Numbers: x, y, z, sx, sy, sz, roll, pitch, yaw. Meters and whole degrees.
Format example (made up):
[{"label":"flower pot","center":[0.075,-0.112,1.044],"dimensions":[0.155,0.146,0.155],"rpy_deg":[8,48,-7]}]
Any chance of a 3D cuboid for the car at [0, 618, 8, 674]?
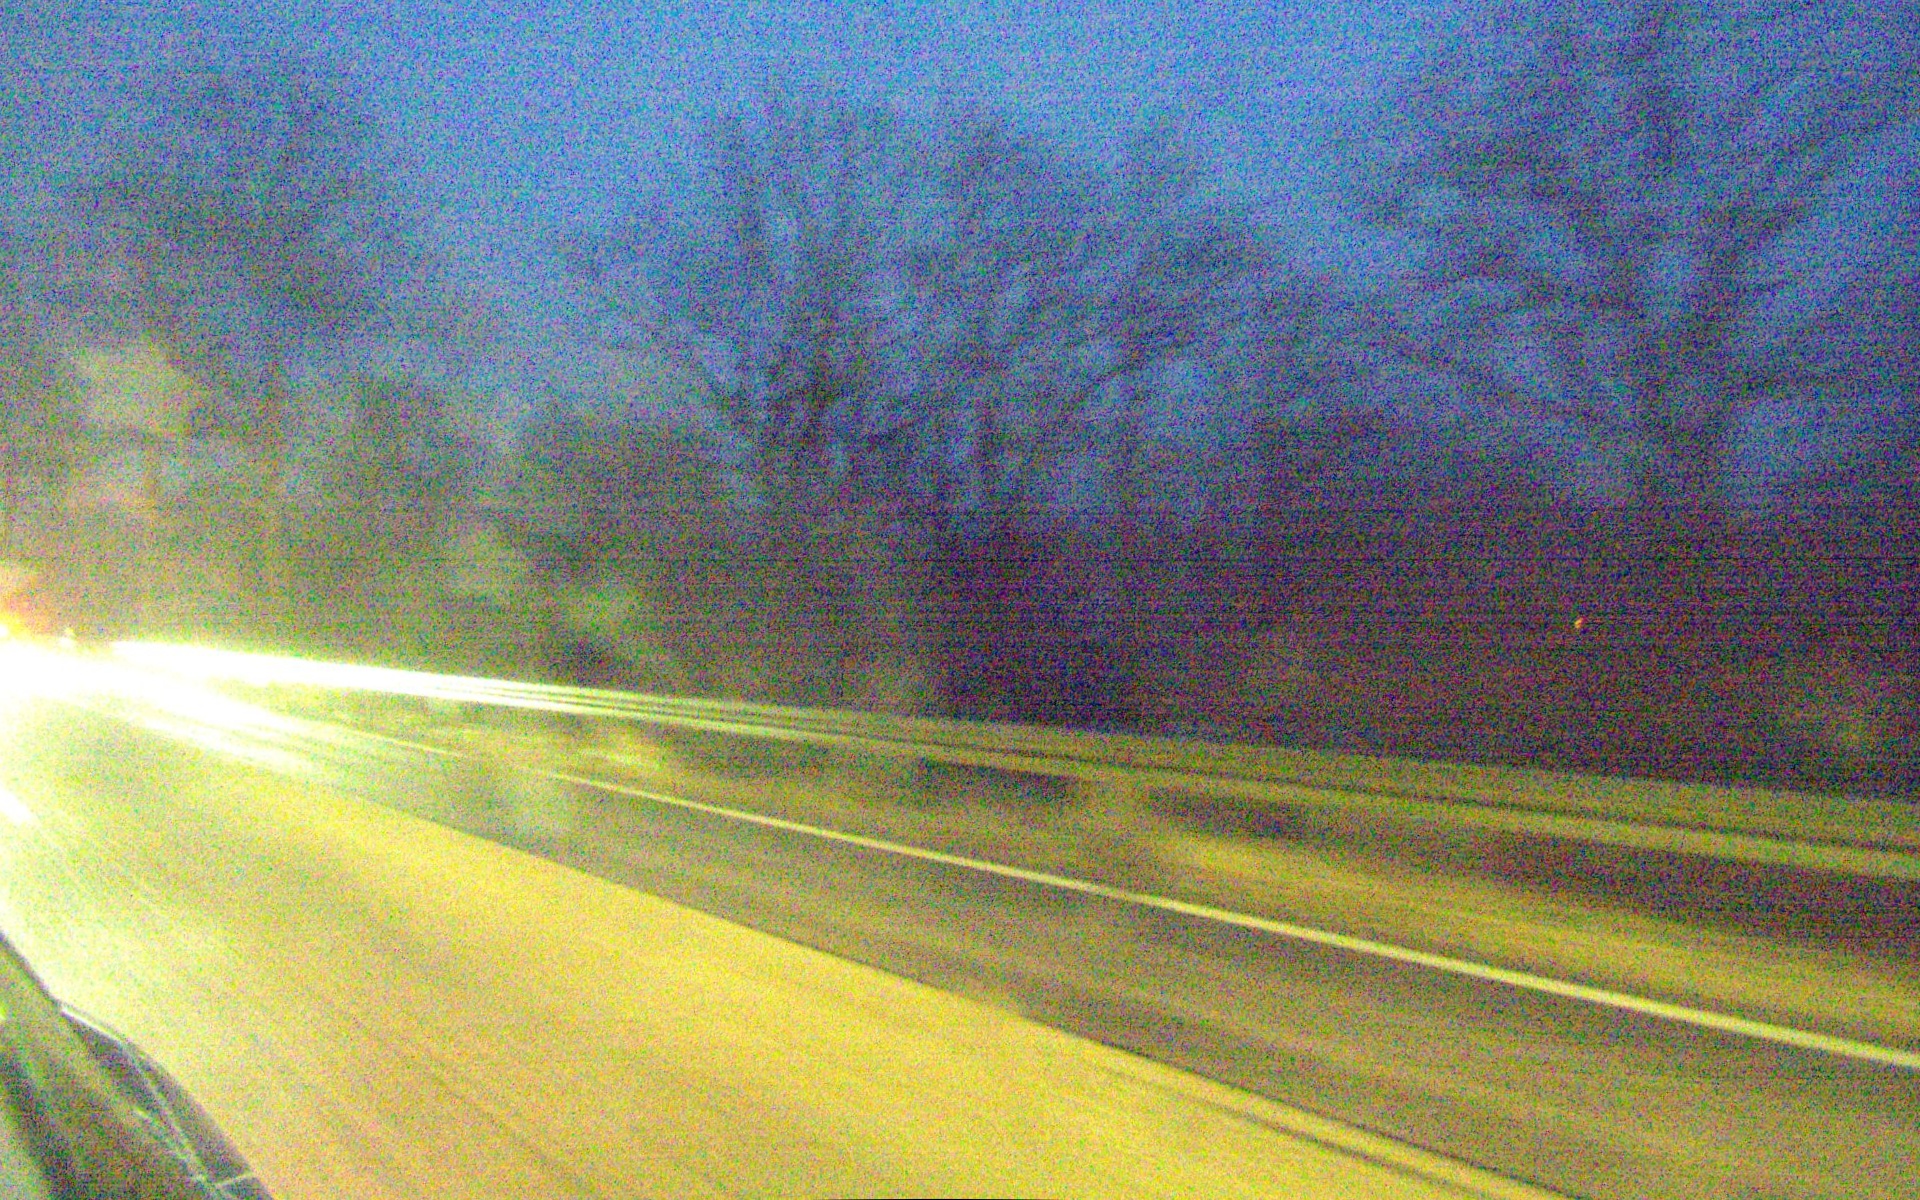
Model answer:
[{"label":"car","center":[-29.164,1.417,29.574],"dimensions":[3.742,1.593,1.617],"rpy_deg":[-4,-3,41]}]
